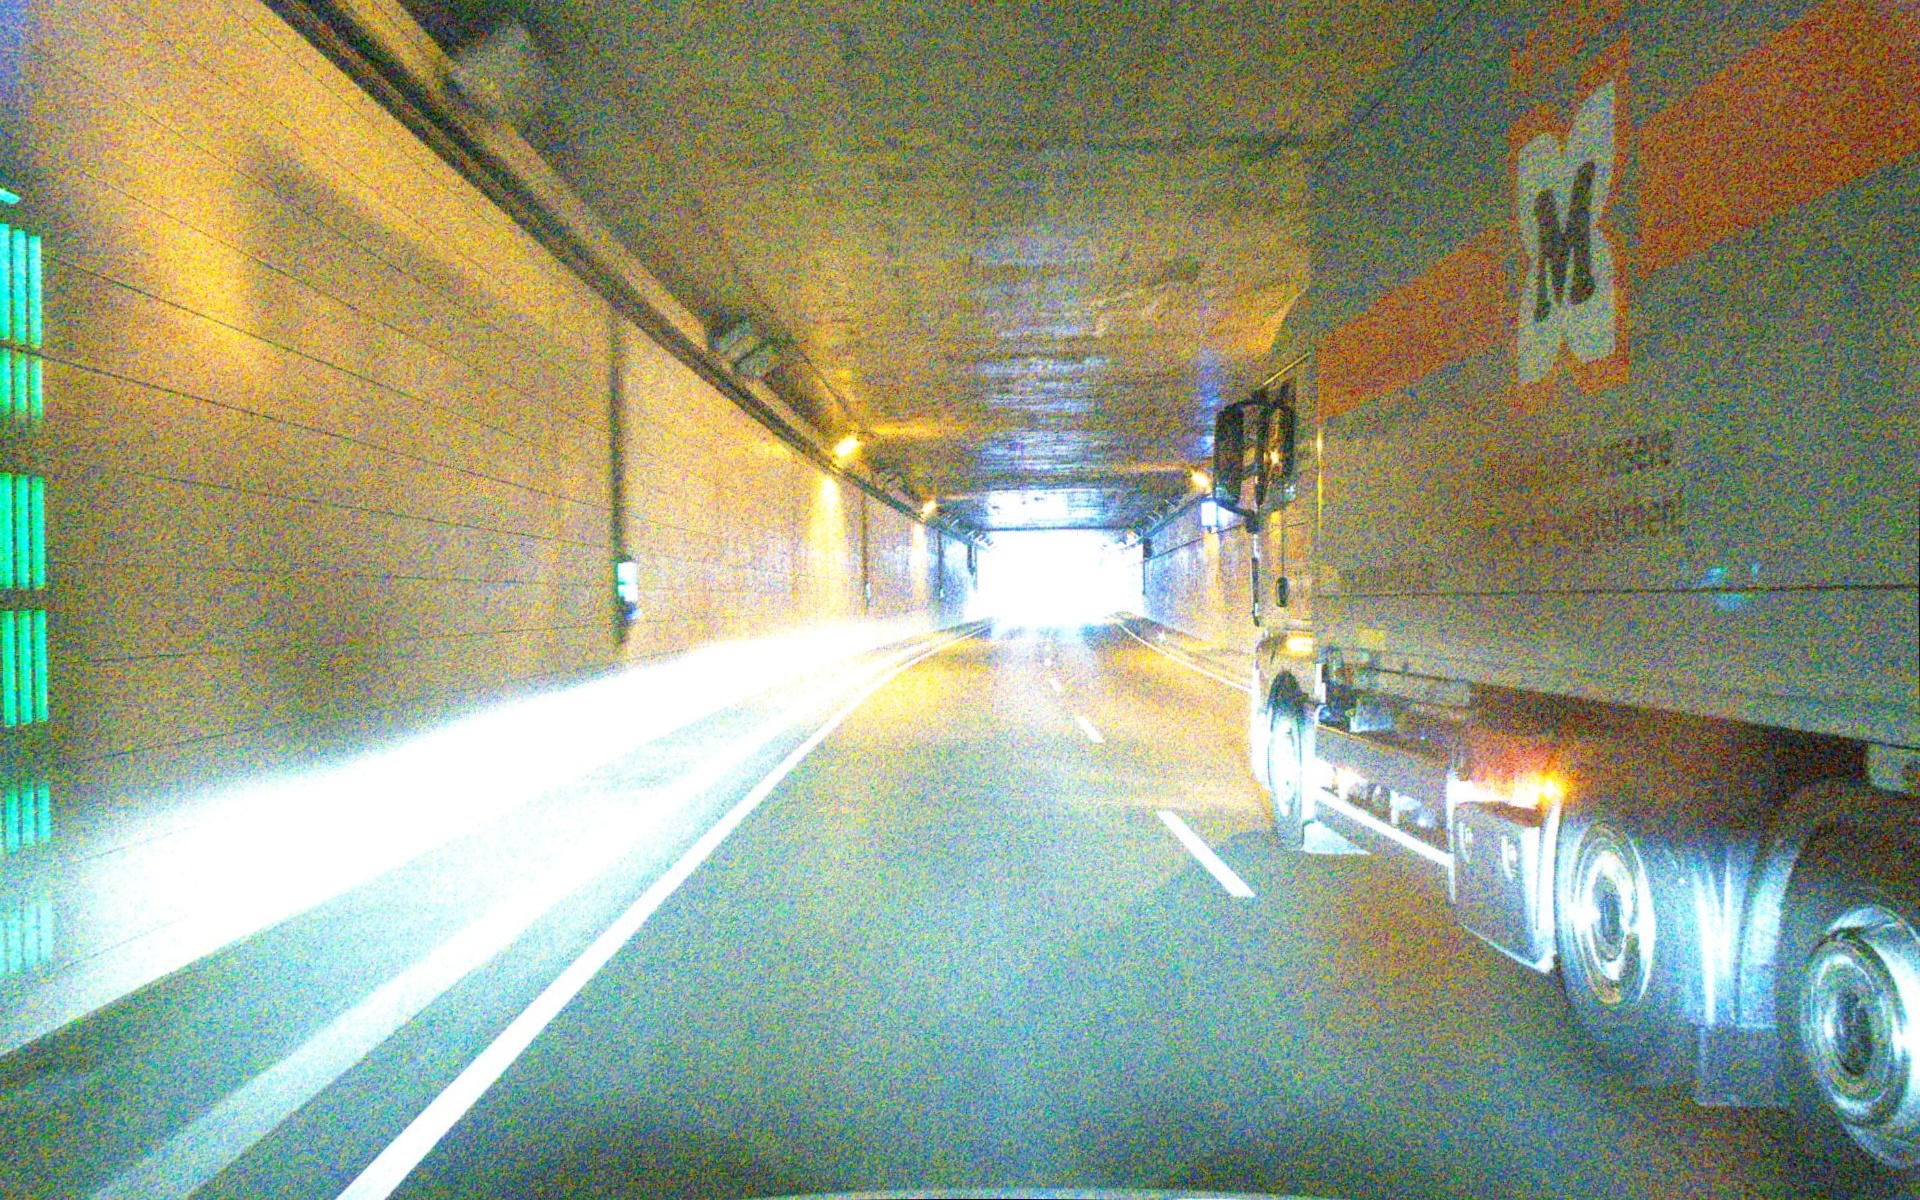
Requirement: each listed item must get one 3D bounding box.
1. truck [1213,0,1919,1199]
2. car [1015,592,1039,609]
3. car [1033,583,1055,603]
[{"bbox_3d":[3.275,-0.531,6.584,2.830,3.982,9.907,-1,0,-1],"label":"truck"},{"bbox_3d":[5.548,0.051,136.596,1.802,1.413,4.002,-1,0,3],"label":"car"},{"bbox_3d":[7.821,-0.658,153.905,1.831,1.763,4.000,-1,0,1],"label":"car"}]
